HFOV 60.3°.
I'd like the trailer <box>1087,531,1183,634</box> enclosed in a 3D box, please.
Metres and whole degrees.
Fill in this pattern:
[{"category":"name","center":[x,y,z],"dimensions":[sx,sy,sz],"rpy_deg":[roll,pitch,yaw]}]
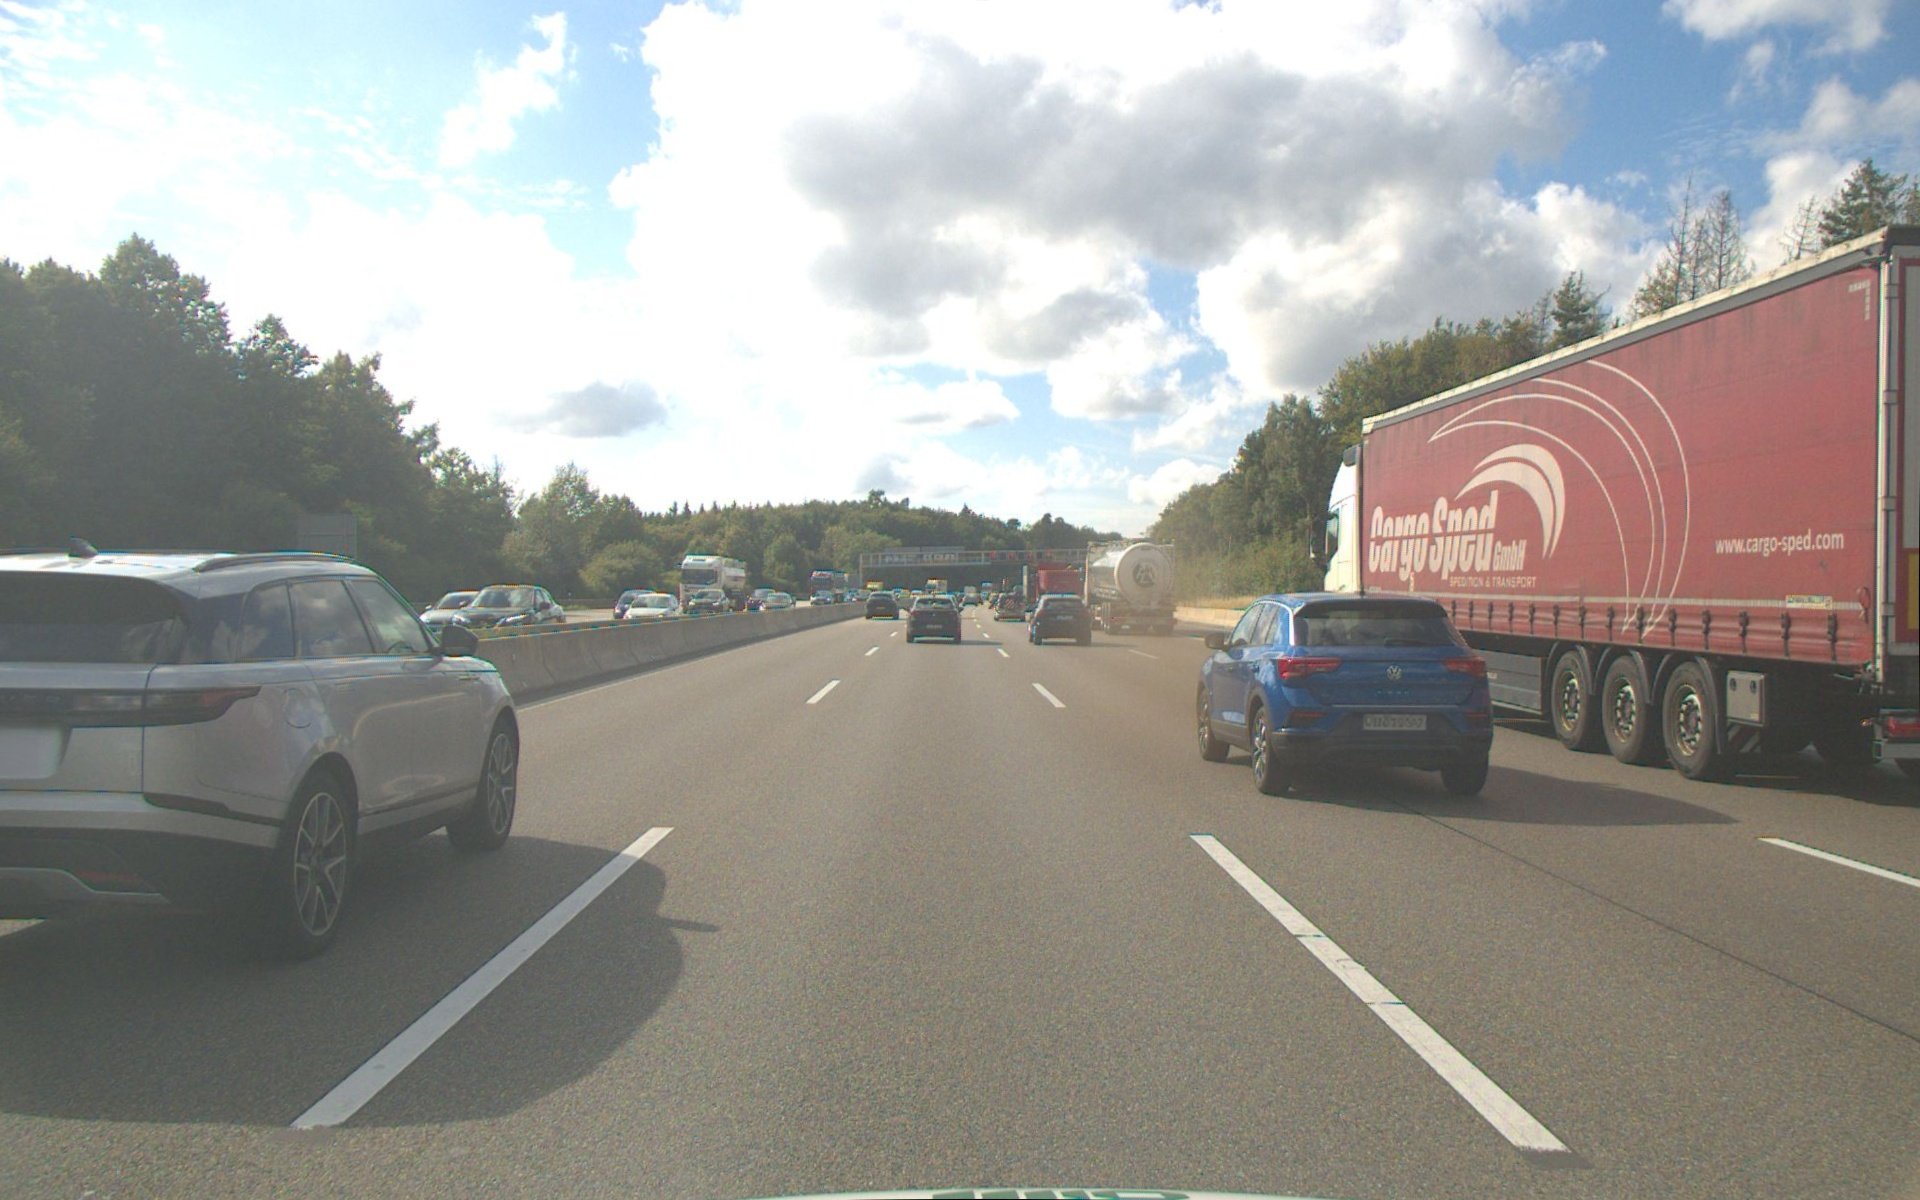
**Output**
[{"category":"trailer","center":[7.022,-0.678,67.814],"dimensions":[2.595,3.833,11.859],"rpy_deg":[0,0,0]}]

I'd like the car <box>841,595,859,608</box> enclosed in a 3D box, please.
[{"category":"car","center":[-12.779,0.202,192.511],"dimensions":[1.570,1.427,4.001],"rpy_deg":[3,0,3]}]

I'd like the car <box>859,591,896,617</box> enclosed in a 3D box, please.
[{"category":"car","center":[-4.794,0.225,96.831],"dimensions":[1.902,1.483,4.000],"rpy_deg":[-1,0,0]}]

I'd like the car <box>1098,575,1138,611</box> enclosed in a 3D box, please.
[{"category":"car","center":[9.045,-0.417,94.949],"dimensions":[1.855,1.991,4.100],"rpy_deg":[1,0,0]}]

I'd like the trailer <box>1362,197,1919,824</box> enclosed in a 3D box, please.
[{"category":"trailer","center":[7.419,-0.624,17.731],"dimensions":[2.717,4.116,13.711],"rpy_deg":[0,0,-1]}]

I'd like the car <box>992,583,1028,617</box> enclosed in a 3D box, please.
[{"category":"car","center":[2.860,-0.010,94.844],"dimensions":[1.855,1.889,4.100],"rpy_deg":[1,0,-1]}]

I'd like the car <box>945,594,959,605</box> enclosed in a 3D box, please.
[{"category":"car","center":[-1.222,-0.068,236.809],"dimensions":[1.890,1.483,4.391],"rpy_deg":[-1,0,-1]}]

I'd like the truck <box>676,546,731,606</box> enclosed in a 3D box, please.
[{"category":"truck","center":[-17.716,-1.636,114.472],"dimensions":[2.730,4.014,6.446],"rpy_deg":[0,0,0]}]

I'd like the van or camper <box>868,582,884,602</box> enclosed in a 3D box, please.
[{"category":"van or camper","center":[-13.077,-1.278,259.020],"dimensions":[2.326,2.942,6.504],"rpy_deg":[-1,0,-2]}]

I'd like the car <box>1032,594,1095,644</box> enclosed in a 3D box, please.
[{"category":"car","center":[3.191,0.559,51.524],"dimensions":[1.784,1.483,4.001],"rpy_deg":[-1,0,1]}]

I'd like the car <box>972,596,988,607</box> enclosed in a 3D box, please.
[{"category":"car","center":[2.671,0.162,224.629],"dimensions":[2.035,1.483,3.999],"rpy_deg":[-1,0,-1]}]

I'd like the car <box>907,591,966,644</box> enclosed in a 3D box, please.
[{"category":"car","center":[-0.744,0.521,52.048],"dimensions":[1.785,1.573,3.999],"rpy_deg":[0,0,-1]}]

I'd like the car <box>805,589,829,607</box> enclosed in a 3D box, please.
[{"category":"car","center":[-13.966,-0.225,162.023],"dimensions":[1.953,1.693,4.686],"rpy_deg":[-1,0,-1]}]

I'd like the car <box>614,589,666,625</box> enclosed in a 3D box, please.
[{"category":"car","center":[-14.107,0.286,73.090],"dimensions":[1.596,1.538,3.999],"rpy_deg":[0,0,-1]}]

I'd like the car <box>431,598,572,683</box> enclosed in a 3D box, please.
[{"category":"car","center":[-9.818,0.816,35.723],"dimensions":[1.874,1.669,4.241],"rpy_deg":[-1,0,-1]}]

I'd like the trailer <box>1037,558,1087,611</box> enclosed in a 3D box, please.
[{"category":"trailer","center":[6.666,-1.065,109.240],"dimensions":[2.654,3.287,9.733],"rpy_deg":[1,1,0]}]

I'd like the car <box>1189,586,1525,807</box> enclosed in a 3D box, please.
[{"category":"car","center":[3.169,0.680,14.140],"dimensions":[1.737,1.557,4.457],"rpy_deg":[-1,0,-1]}]

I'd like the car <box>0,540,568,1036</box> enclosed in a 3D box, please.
[{"category":"car","center":[-3.527,0.600,8.148],"dimensions":[1.965,1.644,5.300],"rpy_deg":[1,0,-1]}]

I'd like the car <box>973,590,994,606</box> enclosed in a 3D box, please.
[{"category":"car","center":[2.390,-0.211,168.936],"dimensions":[1.903,1.483,3.999],"rpy_deg":[-1,0,-1]}]

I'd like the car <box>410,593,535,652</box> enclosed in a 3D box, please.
[{"category":"car","center":[-13.405,0.569,45.812],"dimensions":[1.953,1.510,5.131],"rpy_deg":[-1,0,-1]}]

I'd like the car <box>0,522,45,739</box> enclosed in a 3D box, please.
[{"category":"car","center":[-10.087,0.319,13.377],"dimensions":[2.115,2.049,5.822],"rpy_deg":[-1,0,0]}]

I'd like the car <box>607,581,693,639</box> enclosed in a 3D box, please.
[{"category":"car","center":[-10.839,0.327,58.149],"dimensions":[2.127,1.911,4.980],"rpy_deg":[-1,0,-1]}]

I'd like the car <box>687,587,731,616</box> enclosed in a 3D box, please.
[{"category":"car","center":[-14.213,0.069,93.974],"dimensions":[1.822,1.648,4.747],"rpy_deg":[0,0,-1]}]

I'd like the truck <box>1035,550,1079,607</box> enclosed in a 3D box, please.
[{"category":"truck","center":[6.664,-1.495,114.275],"dimensions":[2.654,3.783,5.818],"rpy_deg":[1,1,0]}]

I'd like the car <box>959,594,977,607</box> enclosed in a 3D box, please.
[{"category":"car","center":[0.938,0.019,201.321],"dimensions":[2.035,1.483,3.999],"rpy_deg":[-1,0,-1]}]

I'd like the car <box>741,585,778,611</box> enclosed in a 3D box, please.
[{"category":"car","center":[-13.608,-0.144,112.464],"dimensions":[1.817,1.699,5.210],"rpy_deg":[-1,1,0]}]

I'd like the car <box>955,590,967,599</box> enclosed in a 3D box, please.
[{"category":"car","center":[0.161,-0.885,259.294],"dimensions":[1.890,1.483,3.963],"rpy_deg":[-1,0,-1]}]

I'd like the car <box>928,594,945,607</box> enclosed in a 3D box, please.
[{"category":"car","center":[-2.951,0.036,205.555],"dimensions":[2.034,1.483,4.000],"rpy_deg":[-1,0,0]}]

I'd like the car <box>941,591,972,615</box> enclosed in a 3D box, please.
[{"category":"car","center":[-0.211,0.174,103.343],"dimensions":[1.785,1.483,4.001],"rpy_deg":[-1,0,1]}]

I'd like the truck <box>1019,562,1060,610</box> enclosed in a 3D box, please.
[{"category":"truck","center":[6.976,-1.212,146.694],"dimensions":[3.055,4.003,10.410],"rpy_deg":[-1,0,0]}]

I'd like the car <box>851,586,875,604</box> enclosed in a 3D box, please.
[{"category":"car","center":[-9.645,-0.478,165.028],"dimensions":[2.111,1.729,5.350],"rpy_deg":[-1,0,-1]}]

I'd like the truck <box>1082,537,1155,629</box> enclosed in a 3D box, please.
[{"category":"truck","center":[6.984,-0.739,73.653],"dimensions":[2.595,3.890,6.081],"rpy_deg":[0,0,0]}]

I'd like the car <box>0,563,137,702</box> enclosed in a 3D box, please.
[{"category":"car","center":[-13.680,0.447,22.968],"dimensions":[1.953,1.836,5.125],"rpy_deg":[-1,0,-1]}]

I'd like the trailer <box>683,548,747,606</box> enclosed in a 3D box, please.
[{"category":"trailer","center":[-17.672,-1.615,120.319],"dimensions":[2.730,4.014,12.253],"rpy_deg":[0,0,0]}]

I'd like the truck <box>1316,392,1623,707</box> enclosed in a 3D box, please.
[{"category":"truck","center":[7.298,-0.678,24.553],"dimensions":[2.717,4.116,5.772],"rpy_deg":[0,0,-1]}]
